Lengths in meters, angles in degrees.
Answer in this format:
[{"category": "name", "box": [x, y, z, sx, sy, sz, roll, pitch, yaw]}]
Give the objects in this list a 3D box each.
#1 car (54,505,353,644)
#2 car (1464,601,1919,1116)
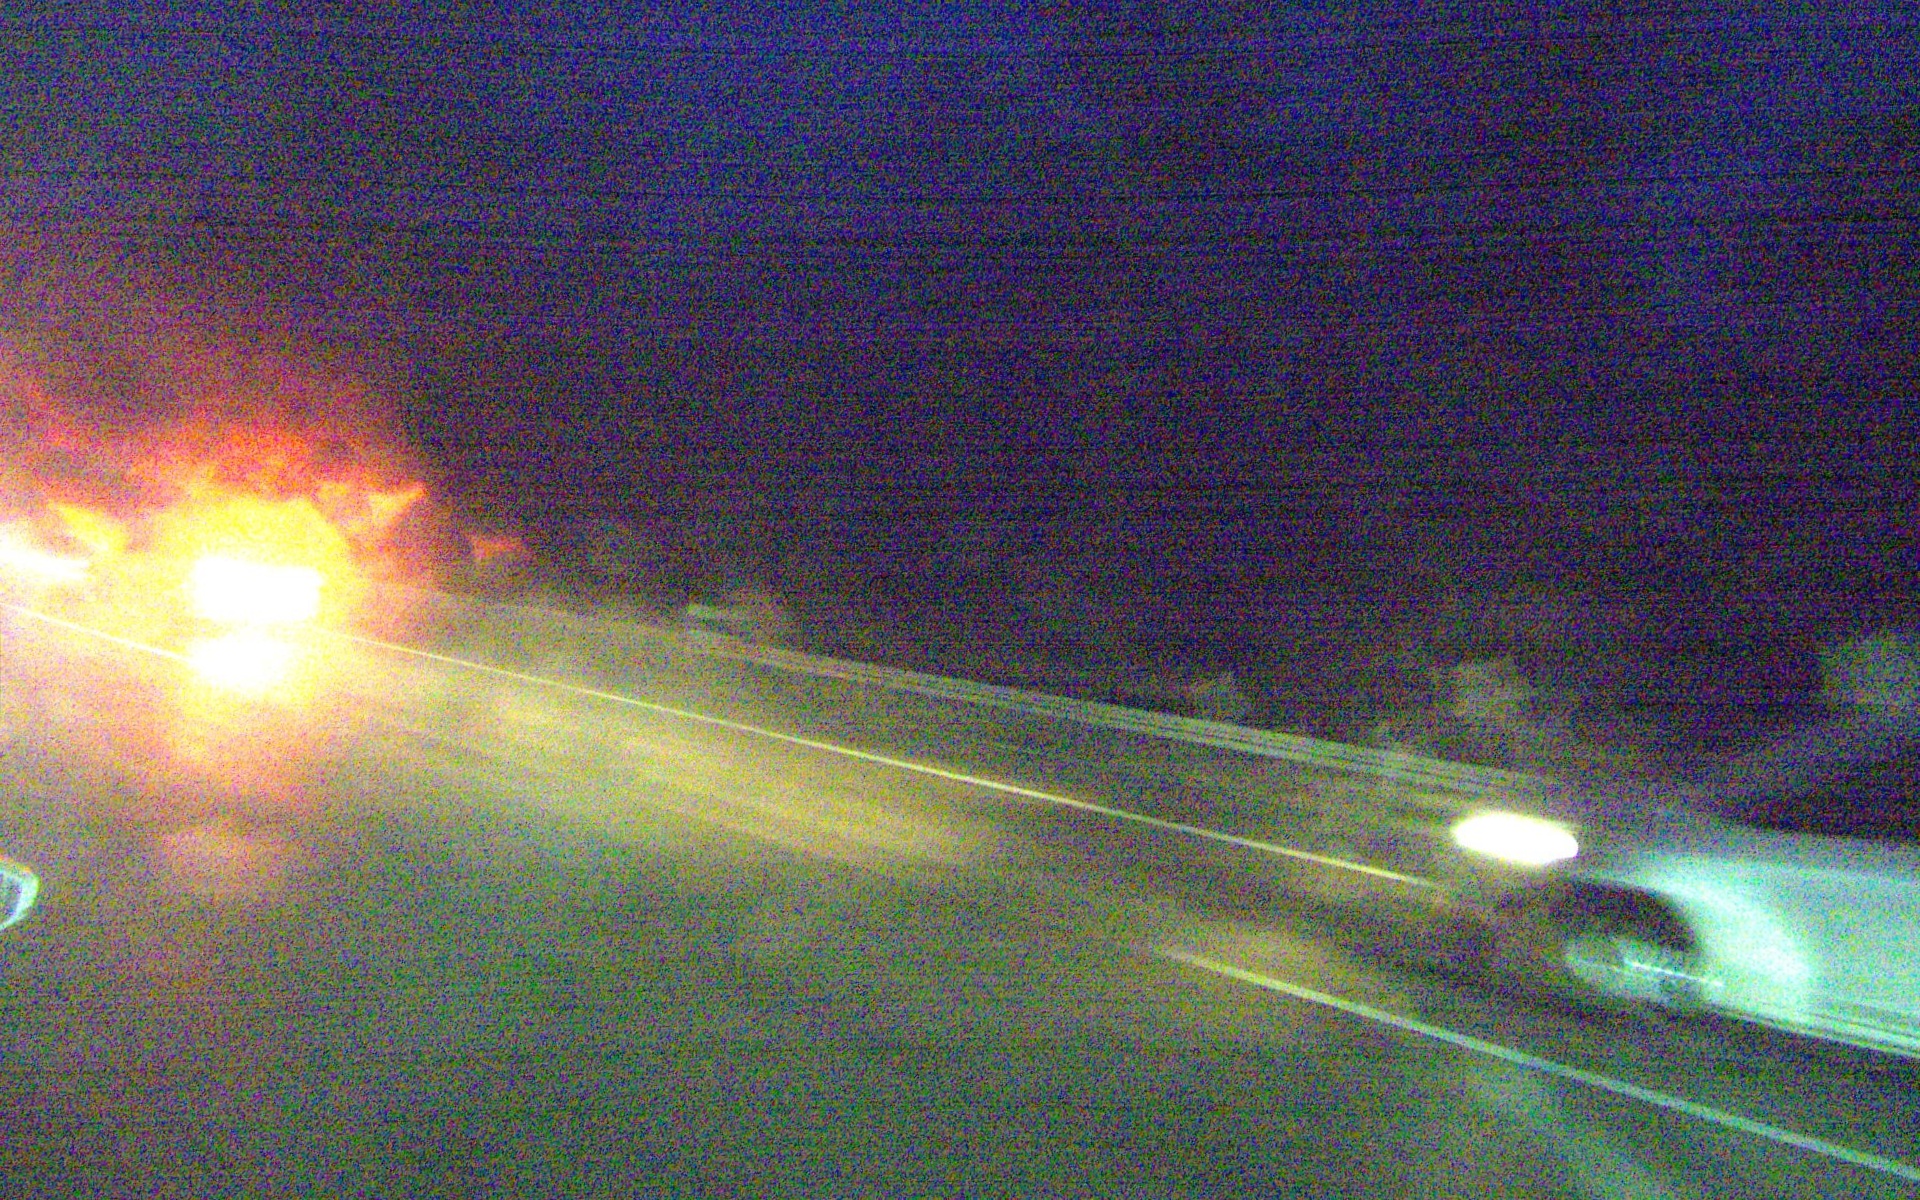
[{"category": "car", "box": [-11.891, -0.432, 15.739, 4.878, 1.503, 1.898, 7, -2, 31]}, {"category": "car", "box": [5.458, 1.348, 4.616, 5.316, 1.998, 2.049, 7, 0, 31]}]
